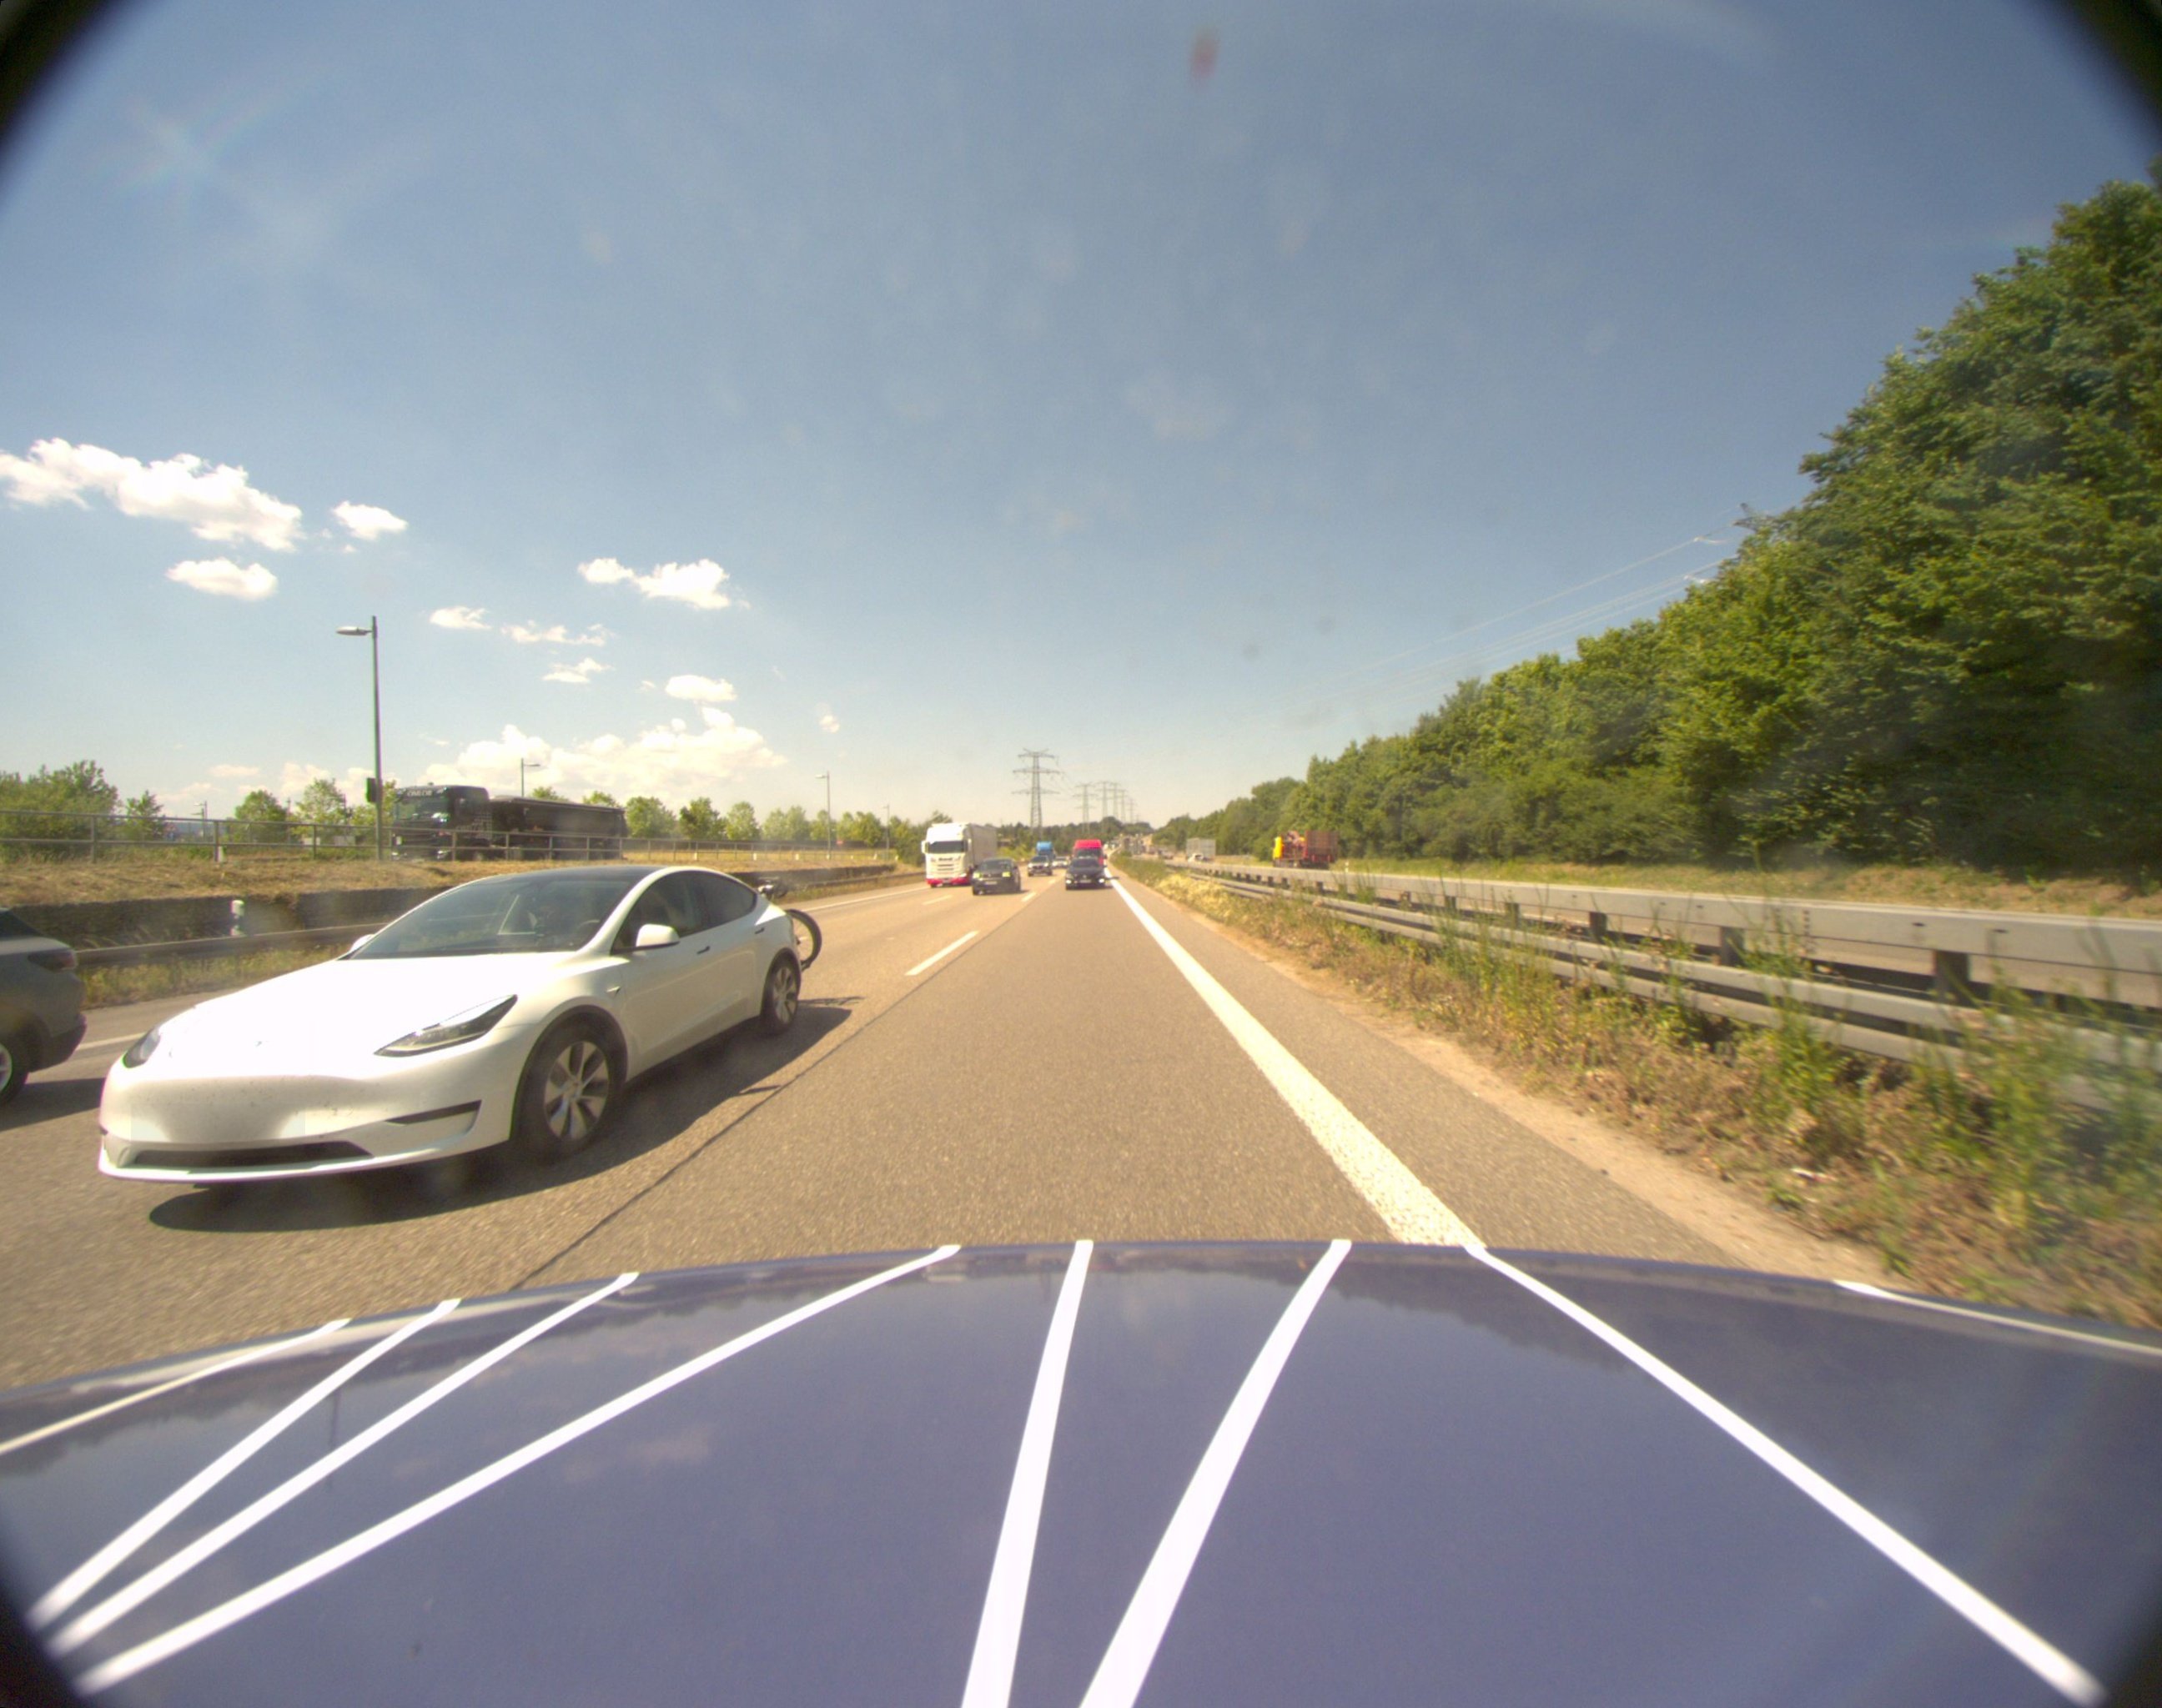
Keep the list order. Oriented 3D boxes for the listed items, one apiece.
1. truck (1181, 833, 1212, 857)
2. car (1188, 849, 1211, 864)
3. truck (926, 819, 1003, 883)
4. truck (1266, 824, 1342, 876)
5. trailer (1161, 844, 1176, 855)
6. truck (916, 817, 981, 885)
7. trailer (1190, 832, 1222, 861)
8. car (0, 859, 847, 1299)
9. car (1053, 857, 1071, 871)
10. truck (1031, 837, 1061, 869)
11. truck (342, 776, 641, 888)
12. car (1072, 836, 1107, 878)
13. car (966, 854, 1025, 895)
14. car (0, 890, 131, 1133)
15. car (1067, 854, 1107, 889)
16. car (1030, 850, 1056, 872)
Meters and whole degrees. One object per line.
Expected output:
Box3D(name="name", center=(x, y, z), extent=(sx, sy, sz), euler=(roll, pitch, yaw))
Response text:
Box3D(name="truck", center=(19.593, -1.525, 129.796), extent=(3.462, 3.971, 11.122), euler=(-1, 0, 0))
Box3D(name="car", center=(14.497, 0.269, 93.509), extent=(1.998, 1.661, 5.610), euler=(1, 1, 1))
Box3D(name="truck", center=(-7.875, -0.254, 53.527), extent=(3.076, 3.885, 12.503), euler=(-3, 1, 1))
Box3D(name="truck", center=(17.812, -0.398, 61.619), extent=(2.789, 3.717, 11.156), euler=(-3, 1, 0))
Box3D(name="trailer", center=(22.051, -1.097, 191.543), extent=(3.153, 2.624, 8.531), euler=(-3, 1, 2))
Box3D(name="truck", center=(-8.038, -0.185, 46.533), extent=(3.076, 3.885, 3.847), euler=(-3, 1, 1))
Box3D(name="trailer", center=(19.726, -1.150, 120.410), extent=(3.462, 4.255, 7.968), euler=(-3, 1, 0))
Box3D(name="car", center=(-3.719, 0.946, 5.897), extent=(1.955, 1.627, 5.599), euler=(-3, 1, 0))
Box3D(name="car", center=(-2.243, 1.217, 92.263), extent=(1.878, 1.591, 3.688), euler=(-1, 1, 3))
Box3D(name="truck", center=(-5.885, -0.236, 131.079), extent=(3.797, 4.971, 14.924), euler=(-3, 1, 2))
Box3D(name="truck", center=(-25.950, -0.912, 35.062), extent=(3.798, 4.060, 12.516), euler=(-3, 1, 0))
Box3D(name="car", center=(0.606, 0.144, 49.922), extent=(2.100, 2.598, 4.496), euler=(-1, 1, 3))
Box3D(name="car", center=(-3.813, 0.876, 34.611), extent=(1.955, 1.637, 4.047), euler=(-3, 1, 2))
Box3D(name="car", center=(-8.409, 1.163, 3.625), extent=(1.873, 1.627, 4.585), euler=(-2, 1, 0))
Box3D(name="car", center=(0.338, 0.783, 35.949), extent=(1.735, 1.535, 3.750), euler=(0, 1, 2))
Box3D(name="car", center=(-3.153, 0.539, 63.113), extent=(1.749, 1.691, 4.088), euler=(-1, 1, 3))
